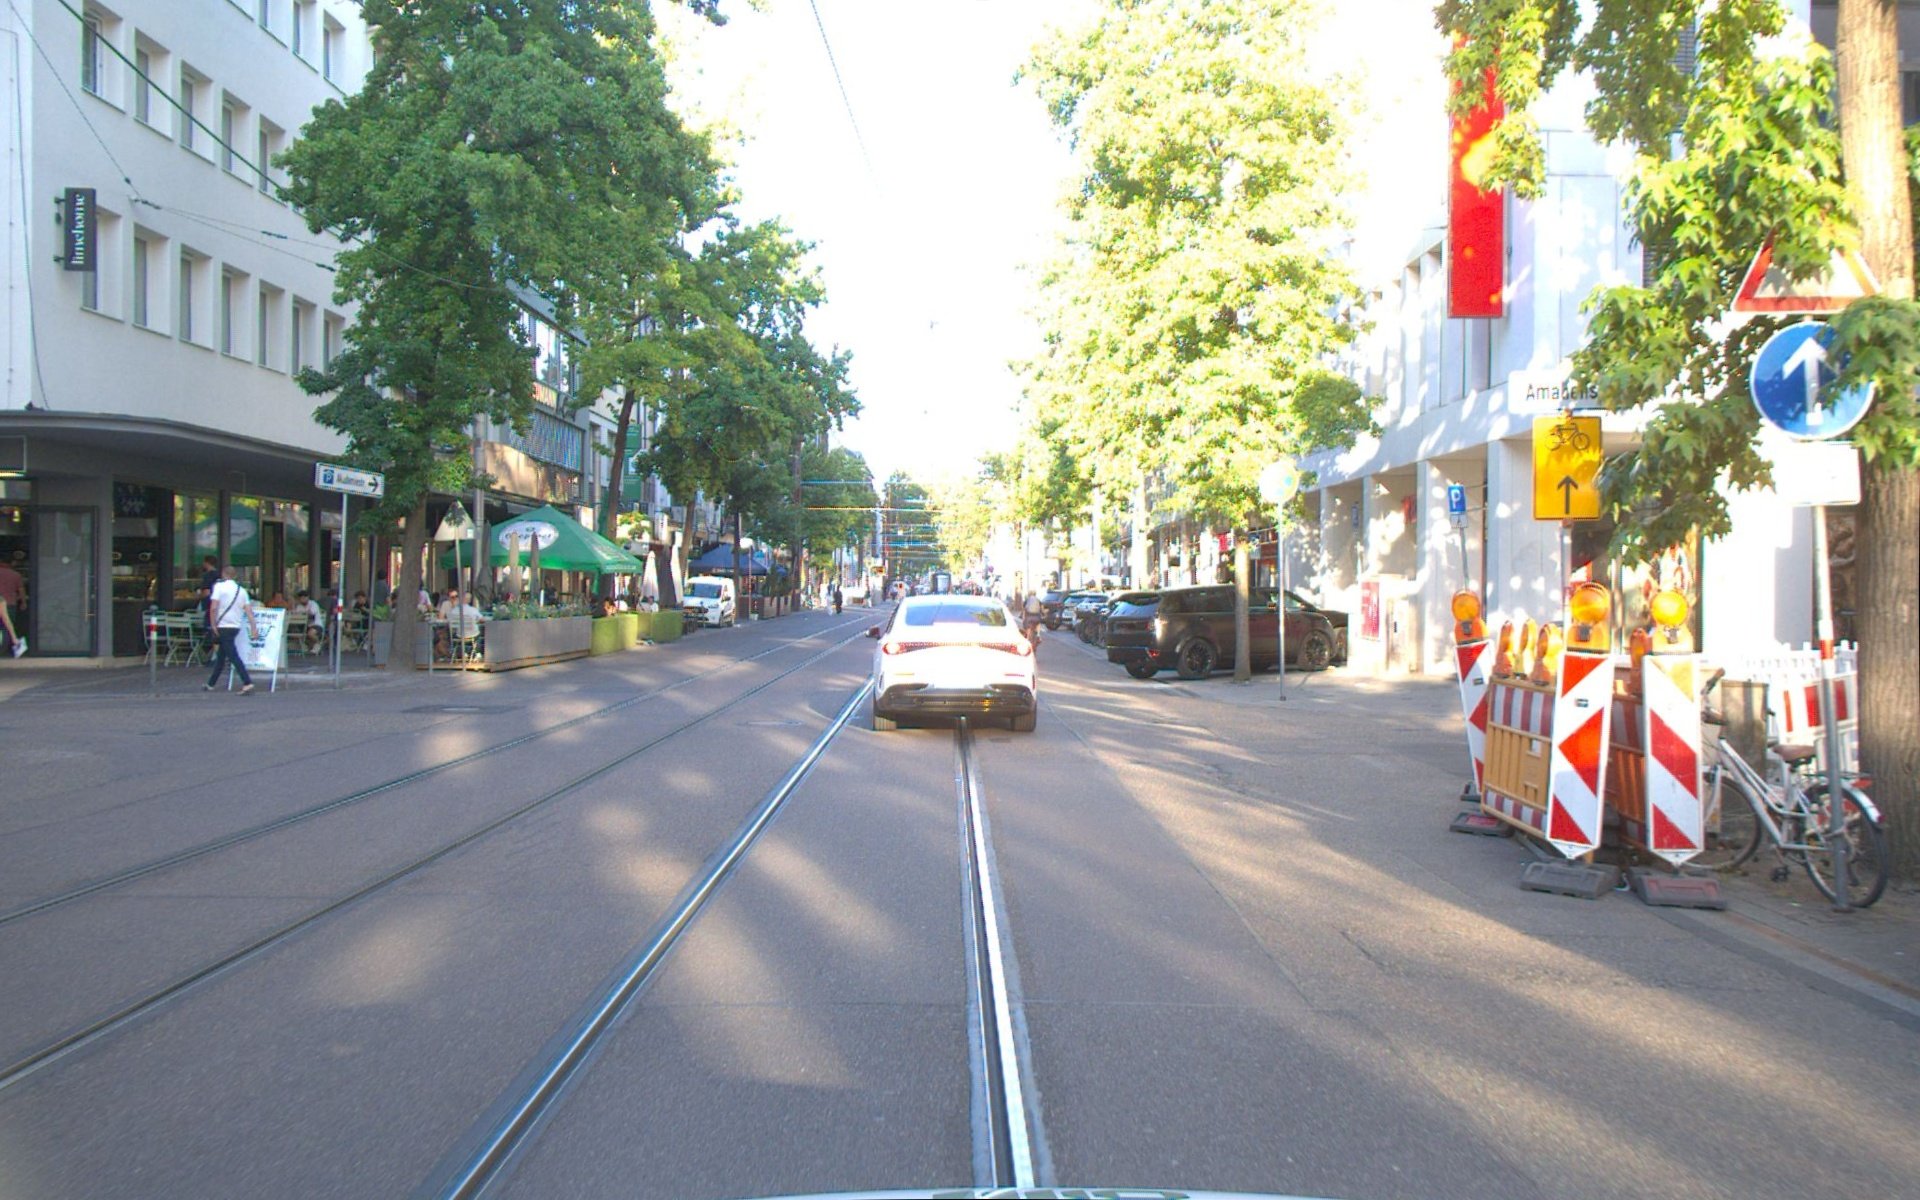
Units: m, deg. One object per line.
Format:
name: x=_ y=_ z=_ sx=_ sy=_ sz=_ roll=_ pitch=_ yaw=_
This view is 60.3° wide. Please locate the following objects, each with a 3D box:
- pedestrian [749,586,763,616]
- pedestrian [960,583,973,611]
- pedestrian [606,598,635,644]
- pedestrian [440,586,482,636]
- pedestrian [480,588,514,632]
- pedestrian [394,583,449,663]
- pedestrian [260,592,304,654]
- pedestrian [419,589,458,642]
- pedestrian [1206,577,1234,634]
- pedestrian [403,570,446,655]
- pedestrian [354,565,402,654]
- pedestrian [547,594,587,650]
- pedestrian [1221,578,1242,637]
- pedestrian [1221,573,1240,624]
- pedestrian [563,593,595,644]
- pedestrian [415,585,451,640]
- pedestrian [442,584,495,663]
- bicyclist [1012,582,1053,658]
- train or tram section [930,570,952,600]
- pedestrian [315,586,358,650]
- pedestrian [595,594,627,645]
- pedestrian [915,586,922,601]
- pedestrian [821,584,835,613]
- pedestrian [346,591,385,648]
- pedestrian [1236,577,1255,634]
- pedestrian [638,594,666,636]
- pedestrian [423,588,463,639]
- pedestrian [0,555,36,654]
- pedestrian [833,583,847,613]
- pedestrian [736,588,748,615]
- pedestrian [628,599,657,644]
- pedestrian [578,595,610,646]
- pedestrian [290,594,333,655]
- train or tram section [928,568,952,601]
pedestrian: x=-9.395 y=0.049 z=76.105 sx=0.538 sy=1.380 sz=0.582 roll=1 pitch=0 yaw=-1
pedestrian: x=0.427 y=-0.196 z=108.623 sx=0.824 sy=1.832 sz=0.790 roll=2 pitch=0 yaw=0
pedestrian: x=-10.027 y=0.605 z=48.873 sx=0.643 sy=1.315 sz=0.798 roll=3 pitch=0 yaw=-1
pedestrian: x=-13.138 y=0.271 z=43.559 sx=0.761 sy=1.258 sz=0.945 roll=3 pitch=0 yaw=-1
pedestrian: x=-13.120 y=0.276 z=46.891 sx=0.686 sy=1.188 sz=0.788 roll=3 pitch=0 yaw=-1
pedestrian: x=-9.853 y=0.412 z=30.281 sx=0.675 sy=1.410 sz=0.807 roll=2 pitch=0 yaw=0
pedestrian: x=-13.328 y=0.443 z=32.519 sx=0.541 sy=1.182 sz=0.687 roll=2 pitch=0 yaw=0
pedestrian: x=-12.583 y=0.367 z=39.918 sx=0.656 sy=1.264 sz=0.798 roll=2 pitch=0 yaw=-1
pedestrian: x=7.851 y=0.161 z=50.018 sx=0.667 sy=1.726 sz=0.548 roll=0 pitch=0 yaw=-13
pedestrian: x=-11.062 y=0.253 z=34.196 sx=0.606 sy=1.699 sz=0.697 roll=2 pitch=0 yaw=-1
pedestrian: x=-11.924 y=0.185 z=33.919 sx=0.664 sy=1.787 sz=0.697 roll=2 pitch=0 yaw=1
pedestrian: x=-9.247 y=0.513 z=38.898 sx=0.693 sy=1.281 sz=0.772 roll=2 pitch=0 yaw=2
pedestrian: x=8.268 y=0.216 z=50.368 sx=0.512 sy=1.781 sz=0.559 roll=-2 pitch=0 yaw=1
pedestrian: x=9.627 y=-0.041 z=58.857 sx=0.545 sy=1.781 sz=0.525 roll=-2 pitch=0 yaw=0
pedestrian: x=-9.866 y=0.478 z=42.844 sx=0.606 sy=1.266 sz=0.697 roll=3 pitch=0 yaw=-1
pedestrian: x=-13.185 y=0.309 z=41.406 sx=0.606 sy=1.332 sz=0.697 roll=3 pitch=0 yaw=-1
pedestrian: x=-9.012 y=0.420 z=30.369 sx=0.675 sy=1.410 sz=0.807 roll=2 pitch=0 yaw=0
bicyclist: x=1.607 y=0.430 z=36.628 sx=0.761 sy=1.641 sz=0.913 roll=2 pitch=0 yaw=8
train or tram section: x=-2.275 y=-1.831 z=200.497 sx=2.639 sy=3.578 sz=12.544 roll=0 pitch=0 yaw=0
pedestrian: x=-13.121 y=0.378 z=34.820 sx=0.590 sy=1.321 sz=0.687 roll=2 pitch=0 yaw=0
pedestrian: x=-9.028 y=0.496 z=42.797 sx=0.606 sy=1.266 sz=0.697 roll=3 pitch=0 yaw=-1
pedestrian: x=-5.110 y=-0.748 z=202.994 sx=0.784 sy=1.813 sz=0.848 roll=2 pitch=0 yaw=-2
pedestrian: x=-7.092 y=-0.103 z=89.101 sx=0.609 sy=1.535 sz=0.833 roll=3 pitch=0 yaw=0
pedestrian: x=-12.823 y=0.416 z=35.673 sx=0.541 sy=1.182 sz=0.687 roll=2 pitch=0 yaw=0
pedestrian: x=8.686 y=0.170 z=50.402 sx=0.506 sy=1.726 sz=0.550 roll=1 pitch=0 yaw=4
pedestrian: x=-9.283 y=0.451 z=49.925 sx=0.643 sy=1.214 sz=0.798 roll=3 pitch=0 yaw=-1
pedestrian: x=-13.219 y=0.329 z=42.320 sx=0.721 sy=1.253 sz=0.788 roll=3 pitch=0 yaw=-1
pedestrian: x=-15.743 y=0.068 z=27.418 sx=0.396 sy=1.632 sz=0.619 roll=1 pitch=0 yaw=33
pedestrian: x=-6.538 y=-0.112 z=90.088 sx=0.609 sy=1.577 sz=0.852 roll=3 pitch=0 yaw=0
pedestrian: x=-10.217 y=0.054 z=77.458 sx=0.484 sy=1.249 sz=0.535 roll=1 pitch=0 yaw=-1
pedestrian: x=-9.389 y=0.623 z=48.970 sx=0.643 sy=1.266 sz=0.872 roll=3 pitch=0 yaw=-1
pedestrian: x=-9.282 y=0.514 z=41.981 sx=0.606 sy=1.266 sz=0.697 roll=3 pitch=0 yaw=-1
pedestrian: x=-12.795 y=0.480 z=32.654 sx=0.541 sy=1.182 sz=0.687 roll=2 pitch=0 yaw=0
train or tram section: x=-2.192 y=-1.731 z=187.946 sx=2.639 sy=3.578 sz=12.544 roll=0 pitch=0 yaw=0
